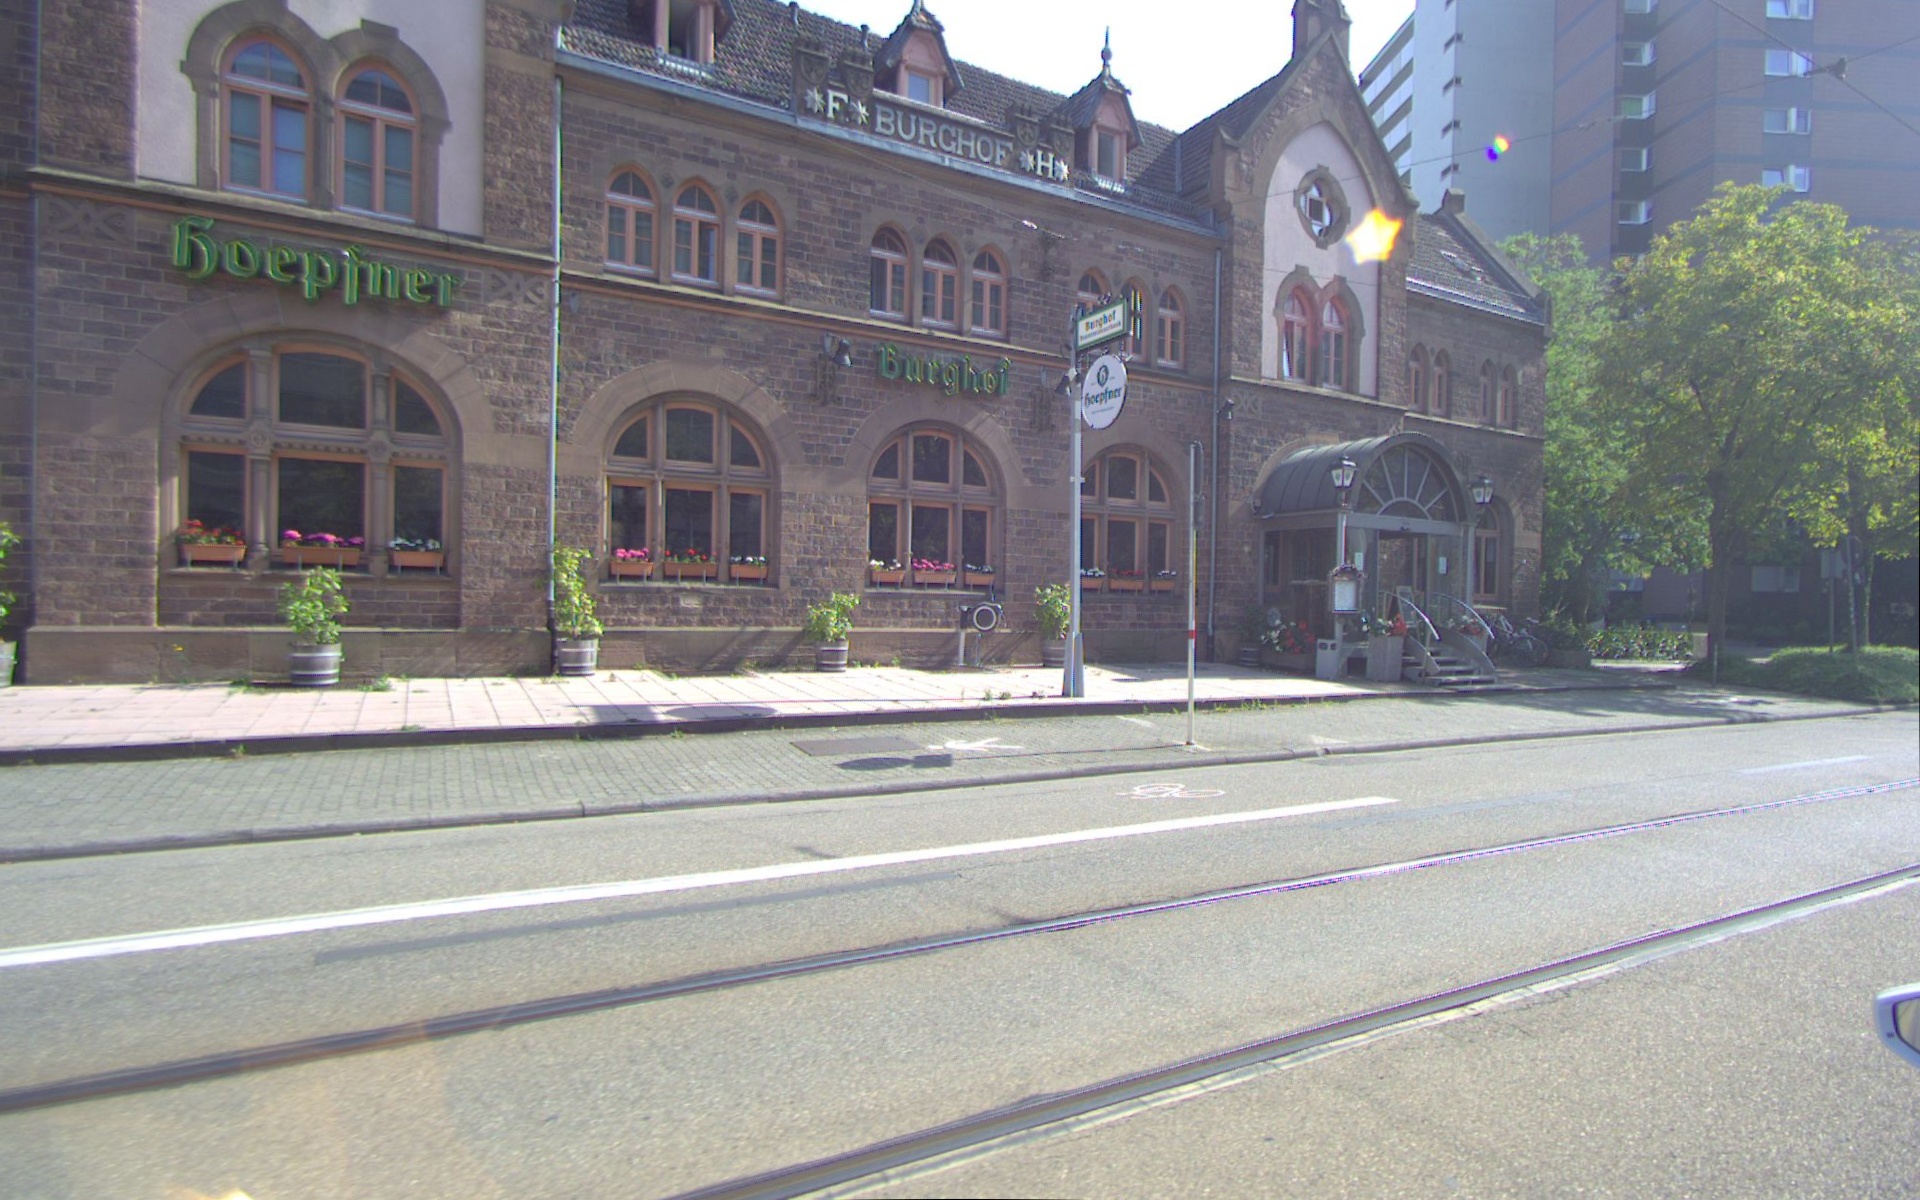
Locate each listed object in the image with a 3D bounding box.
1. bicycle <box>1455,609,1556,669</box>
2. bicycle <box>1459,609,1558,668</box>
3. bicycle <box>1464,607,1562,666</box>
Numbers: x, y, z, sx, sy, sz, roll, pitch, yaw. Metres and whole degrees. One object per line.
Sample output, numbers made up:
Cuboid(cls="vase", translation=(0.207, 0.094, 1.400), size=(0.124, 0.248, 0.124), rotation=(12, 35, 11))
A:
Cuboid(cls="bicycle", translation=(11.748, 0.821, 21.669), size=(1.781, 1.088, 0.419), rotation=(7, 4, 39))
Cuboid(cls="bicycle", translation=(12.024, 0.828, 22.049), size=(1.781, 1.088, 0.419), rotation=(7, 4, 39))
Cuboid(cls="bicycle", translation=(12.318, 0.792, 22.409), size=(1.781, 1.088, 0.419), rotation=(7, 4, 39))
